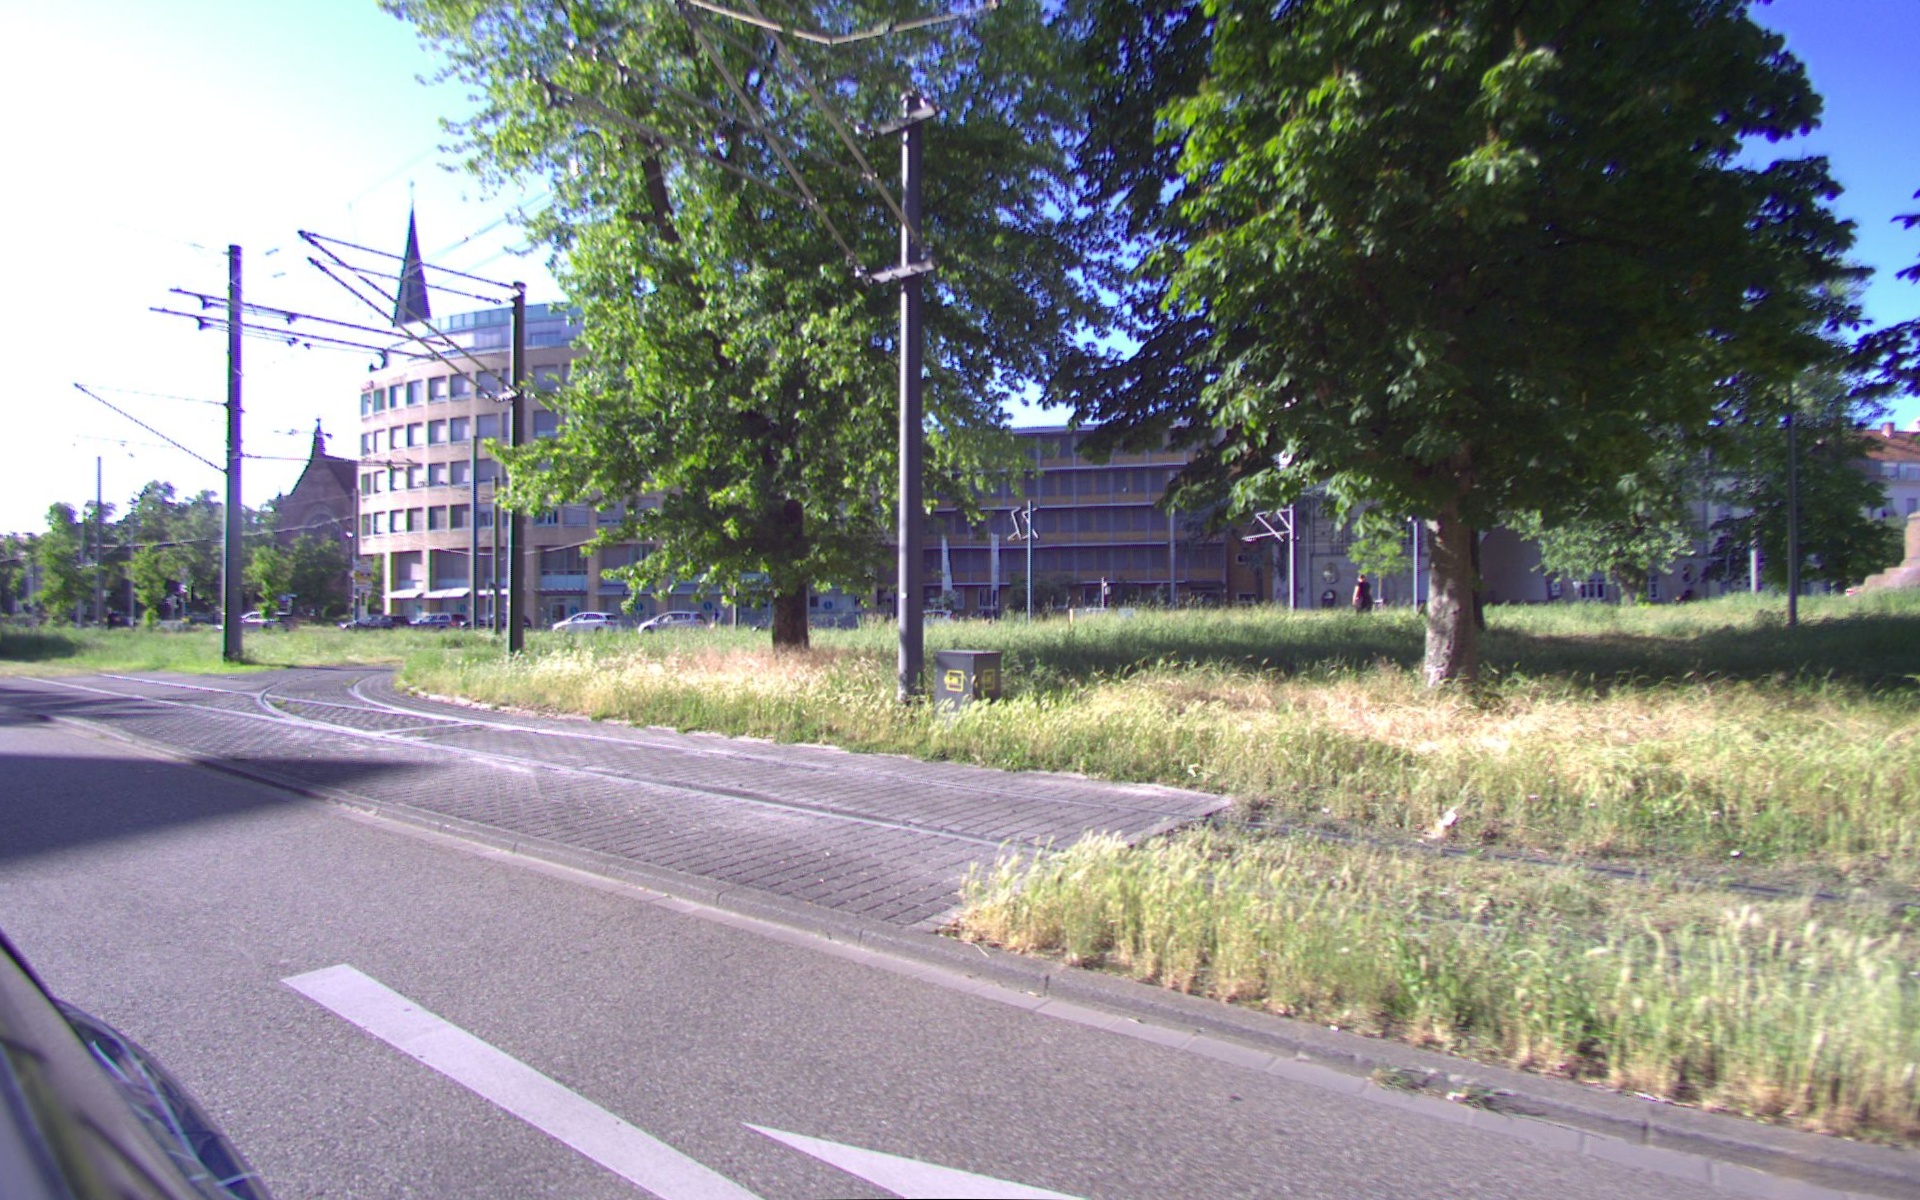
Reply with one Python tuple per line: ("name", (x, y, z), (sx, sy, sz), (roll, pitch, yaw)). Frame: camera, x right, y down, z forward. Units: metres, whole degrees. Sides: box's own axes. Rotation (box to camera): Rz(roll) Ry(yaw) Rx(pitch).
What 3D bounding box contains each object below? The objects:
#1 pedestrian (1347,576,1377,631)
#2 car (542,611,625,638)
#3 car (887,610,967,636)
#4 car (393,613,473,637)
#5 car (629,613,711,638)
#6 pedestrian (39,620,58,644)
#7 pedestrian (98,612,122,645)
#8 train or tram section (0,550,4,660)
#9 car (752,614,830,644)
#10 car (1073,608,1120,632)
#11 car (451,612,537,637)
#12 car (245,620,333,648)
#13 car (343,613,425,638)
("pedestrian", (12.080, 0.102, 30.405), (0.546, 1.628, 0.677), (-1, 1, -15))
("car", (-23.802, 1.554, 64.030), (4.608, 1.608, 1.993), (0, 1, 12))
("car", (-2.051, 1.352, 61.079), (4.696, 1.364, 2.002), (-2, 0, -4))
("car", (-39.403, 1.882, 75.674), (5.159, 1.680, 2.116), (0, 1, 13))
("car", (-17.929, 1.539, 62.612), (4.459, 1.437, 1.995), (0, 1, 9))
("pedestrian", (-79.454, 2.766, 88.221), (0.916, 2.029, 0.875), (0, 1, 14))
("pedestrian", (-44.109, 1.475, 52.520), (0.739, 1.683, 0.731), (-1, -1, 22))
("train or tram section", (-38.192, 0.276, 37.041), (13.169, 3.713, 2.920), (-1, 0, 39))
("car", (-10.209, 1.727, 61.400), (4.234, 1.524, 1.995), (3, 1, 9))
("car", (10.038, 1.454, 74.601), (1.966, 1.593, 4.012), (-1, 1, -16))
("car", (-30.184, 1.571, 65.530), (4.975, 1.458, 1.990), (0, 1, 16))
("car", (-45.529, 2.299, 68.727), (5.033, 1.747, 2.099), (-1, 0, 12))
("car", (-38.151, 1.681, 67.039), (4.614, 1.528, 1.993), (0, 1, 12))
